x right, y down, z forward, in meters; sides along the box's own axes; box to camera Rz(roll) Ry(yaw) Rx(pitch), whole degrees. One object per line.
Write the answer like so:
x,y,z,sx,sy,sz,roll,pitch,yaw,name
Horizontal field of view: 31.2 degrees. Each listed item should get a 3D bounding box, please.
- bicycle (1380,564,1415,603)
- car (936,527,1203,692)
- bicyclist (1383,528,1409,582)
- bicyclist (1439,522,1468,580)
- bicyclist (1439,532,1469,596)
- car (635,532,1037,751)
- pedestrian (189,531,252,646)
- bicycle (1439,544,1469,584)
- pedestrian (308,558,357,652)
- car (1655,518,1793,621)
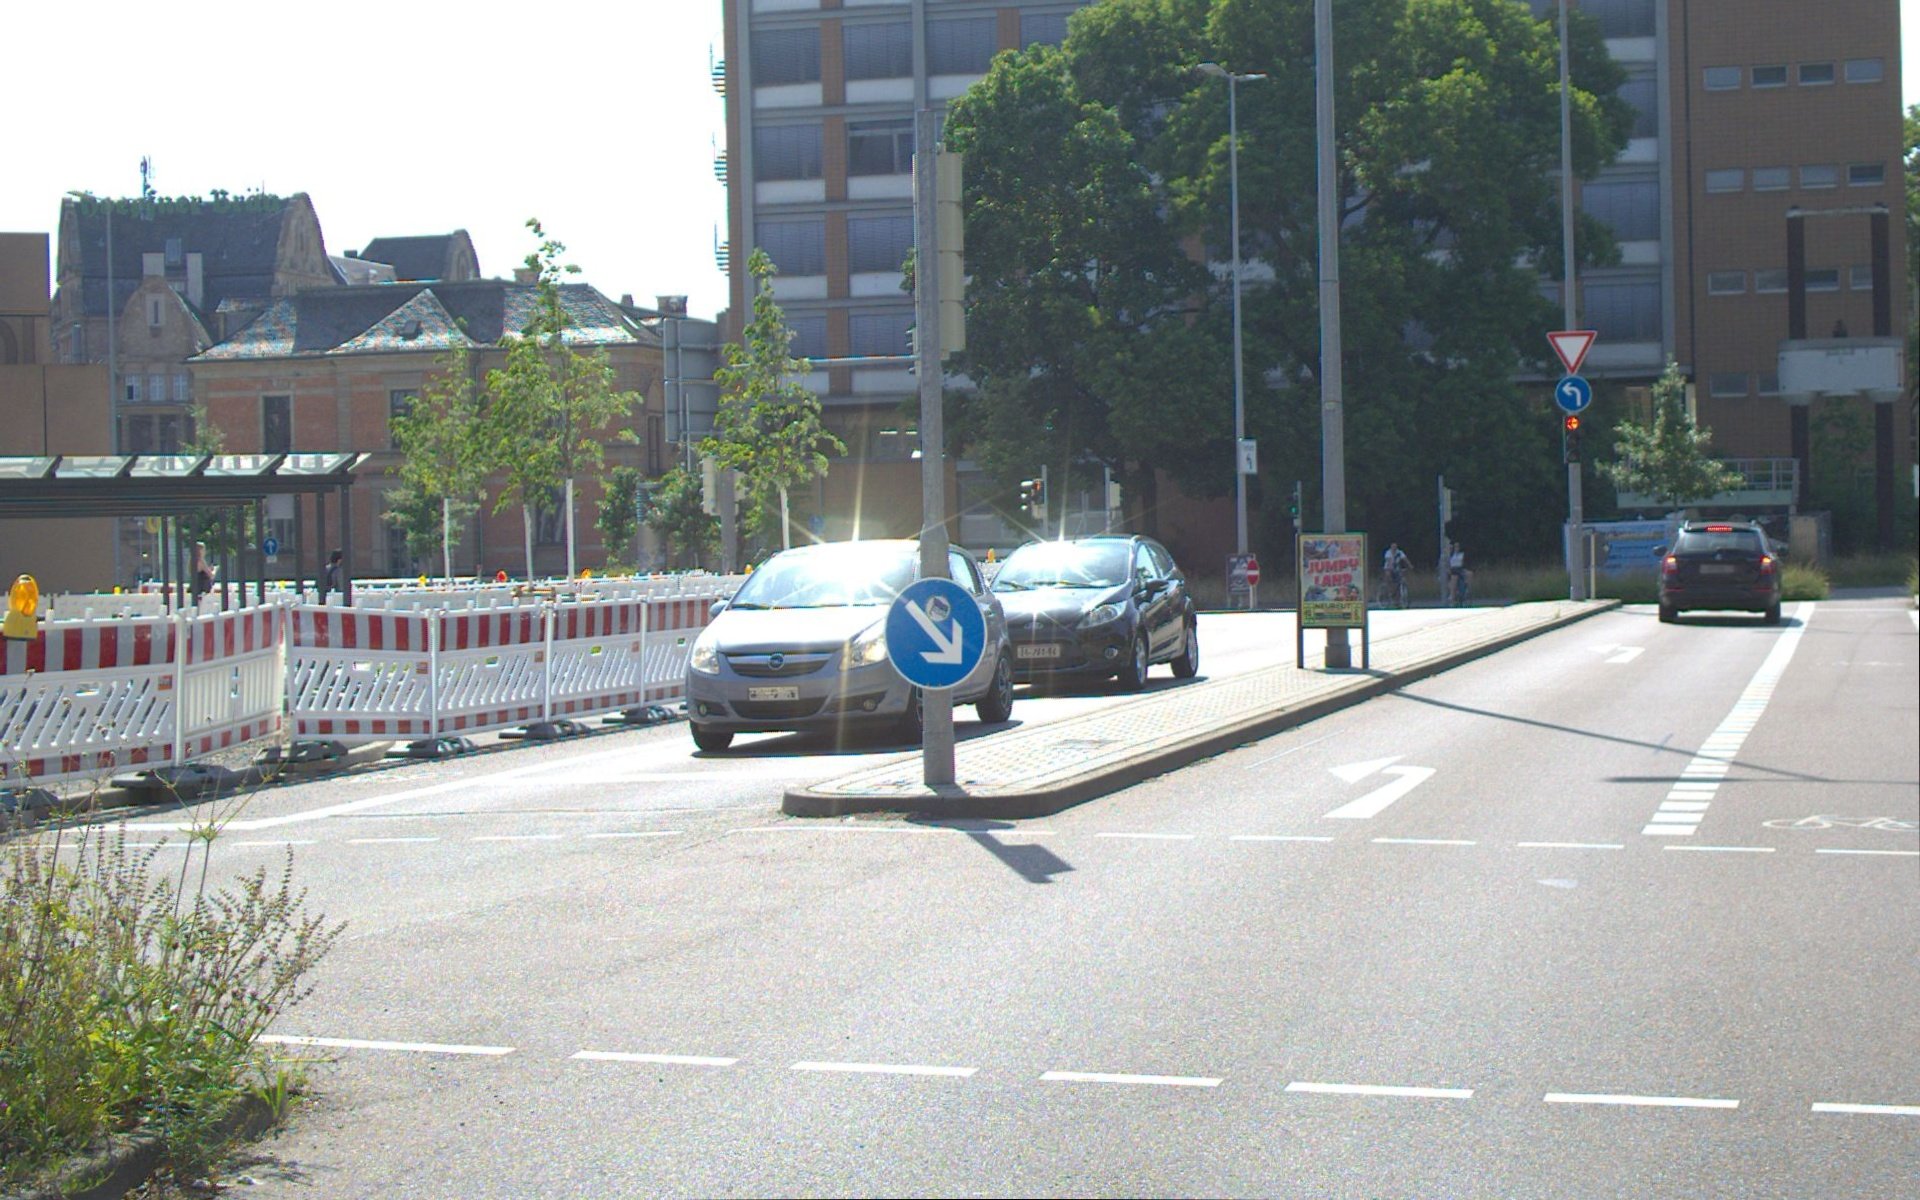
11.520,-0.435,90.523,0.704,0.974,2.030,-1,1,13,bicycle
1.106,0.046,32.742,1.667,1.446,3.815,0,1,16,car
11.473,-1.180,90.470,0.539,1.412,1.029,-2,0,13,bicyclist
12.635,-1.266,88.062,0.619,1.438,0.920,-4,0,10,bicyclist
12.657,-0.925,88.063,0.619,1.576,1.013,-4,0,10,bicyclist
-0.818,0.253,25.377,1.795,1.407,3.997,-3,1,15,car
-11.582,-0.169,53.861,0.736,1.746,1.111,-2,-1,-1,pedestrian
12.657,-0.925,88.063,0.619,0.957,1.967,-4,0,10,bicycle
-10.130,0.073,55.521,0.630,1.486,0.617,-2,1,-1,pedestrian
11.241,-0.482,50.466,1.781,1.438,3.815,1,1,15,car
